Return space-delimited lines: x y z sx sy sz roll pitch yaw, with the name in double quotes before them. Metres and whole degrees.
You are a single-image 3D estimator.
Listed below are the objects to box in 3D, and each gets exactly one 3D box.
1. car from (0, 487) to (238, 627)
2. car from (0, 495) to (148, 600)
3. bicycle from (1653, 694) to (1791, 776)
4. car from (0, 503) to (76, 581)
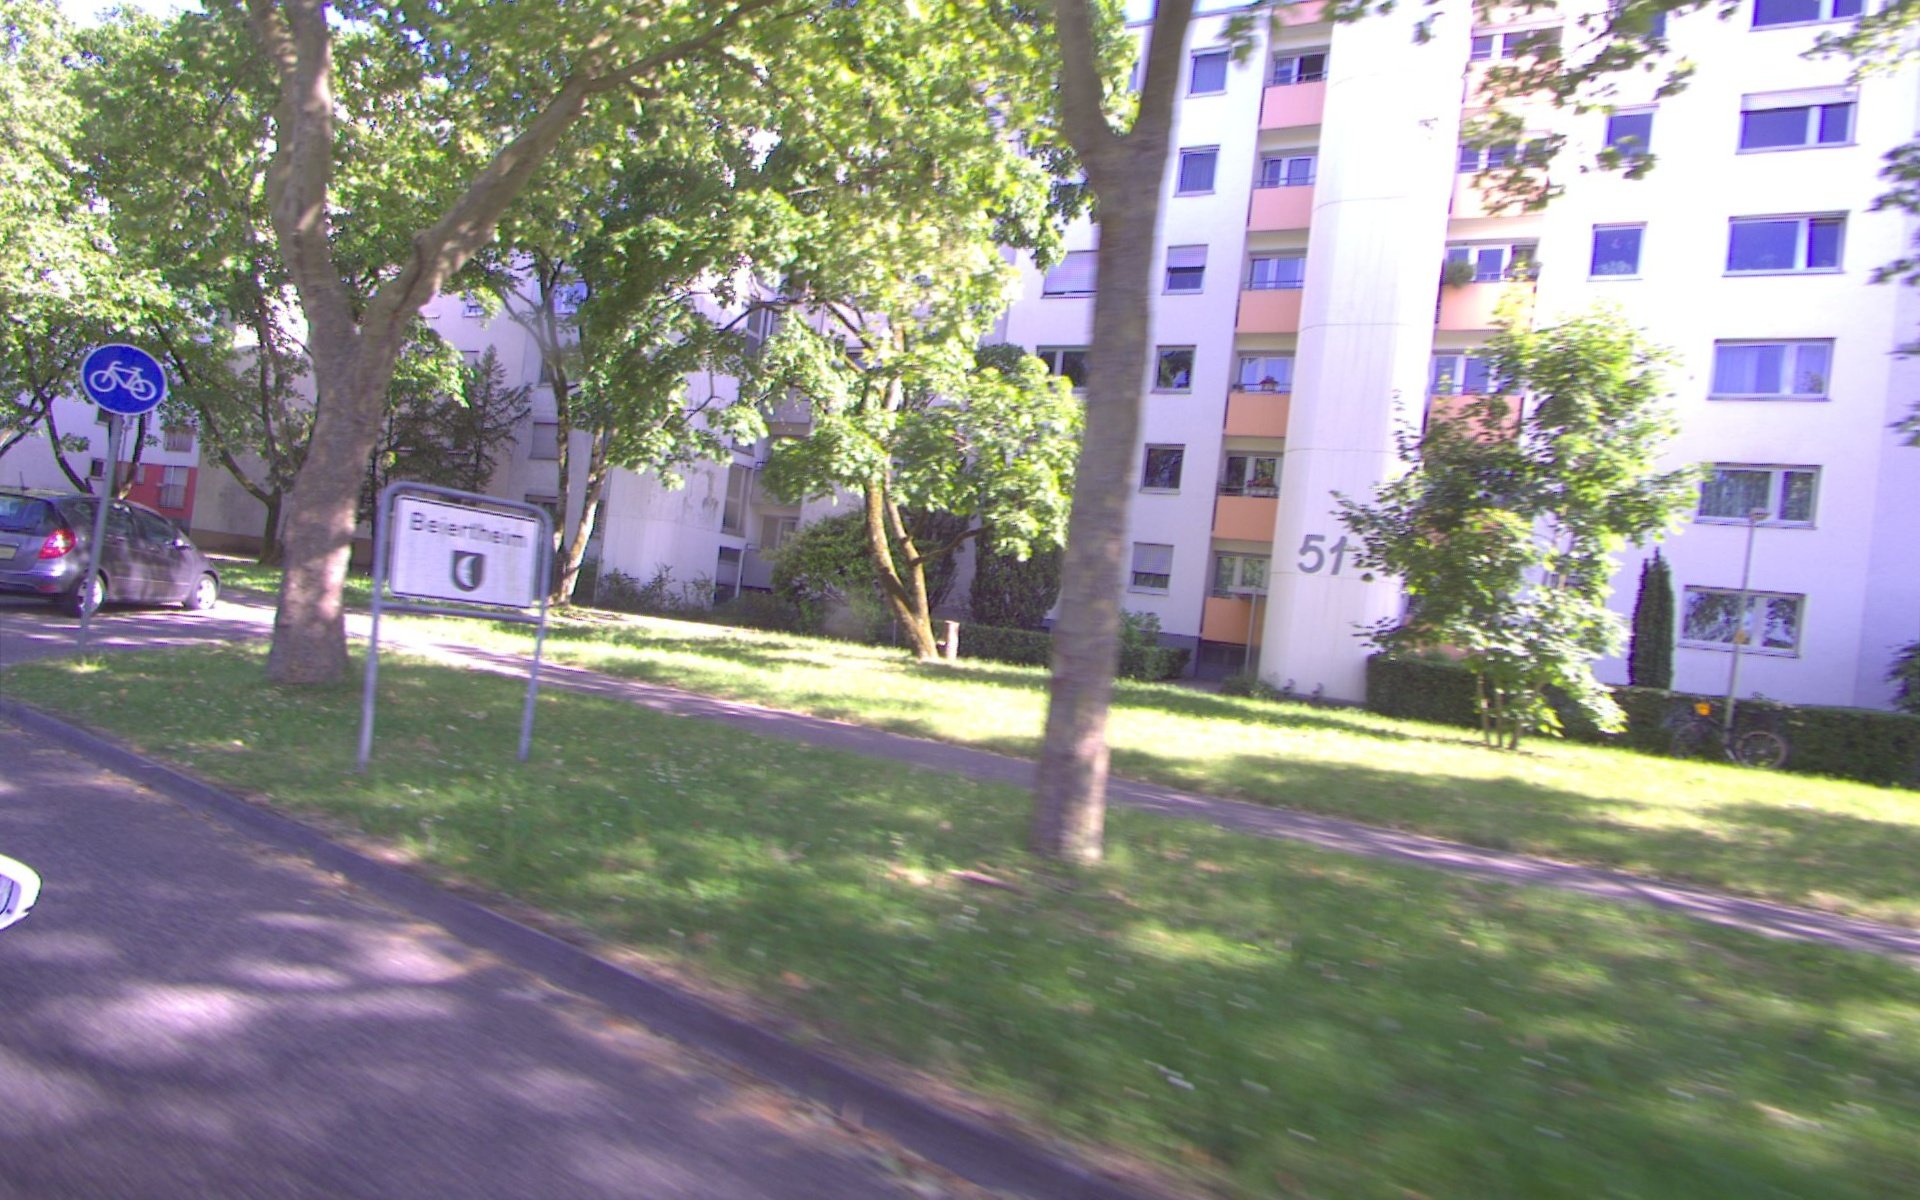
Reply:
"car" -12.146 -0.605 14.026 1.769 1.612 3.720 7 0 -9
"car" -14.954 -0.875 15.822 1.770 1.510 3.577 7 0 -10
"bicycle" 13.541 2.386 17.936 1.768 1.123 0.499 7 5 25
"car" -17.623 -1.103 17.169 1.769 1.334 4.140 7 0 -9
